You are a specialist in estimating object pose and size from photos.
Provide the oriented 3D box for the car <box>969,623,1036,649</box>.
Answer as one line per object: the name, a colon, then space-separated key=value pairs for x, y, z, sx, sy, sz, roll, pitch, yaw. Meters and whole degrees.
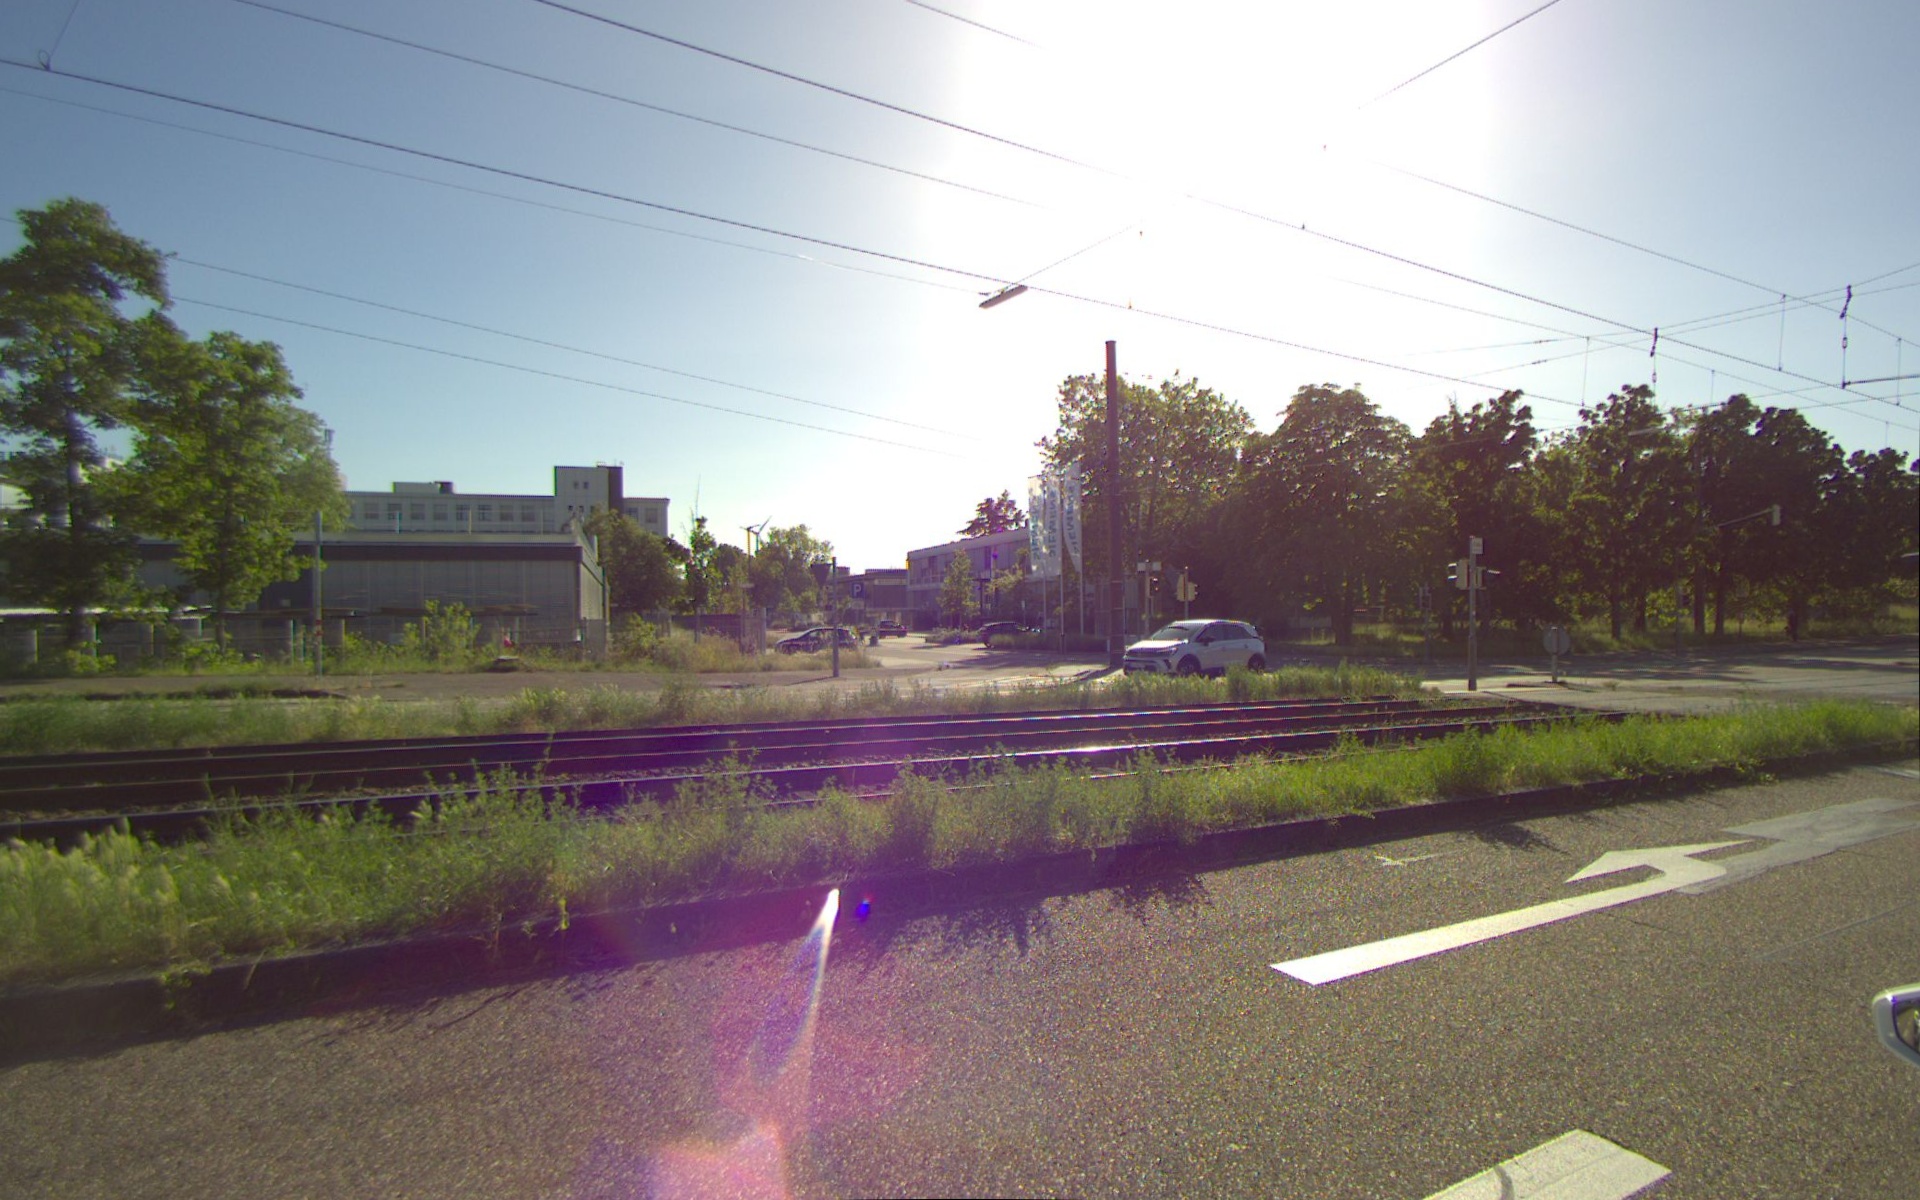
car: x=2.601 y=2.166 z=61.689 sx=3.818 sy=1.508 sz=1.682 roll=1 pitch=0 yaw=-32

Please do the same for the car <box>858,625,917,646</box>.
car: x=-5.155 y=2.538 z=71.766 sx=3.893 sy=1.471 sz=1.688 roll=1 pitch=0 yaw=-21

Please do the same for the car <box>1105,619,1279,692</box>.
car: x=5.772 y=1.307 z=24.819 sx=4.212 sy=1.628 sz=1.839 roll=1 pitch=0 yaw=-35

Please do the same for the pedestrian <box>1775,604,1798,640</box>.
pedestrian: x=48.486 y=1.284 z=58.926 sx=0.853 sy=2.040 sz=0.835 roll=1 pitch=0 yaw=-32

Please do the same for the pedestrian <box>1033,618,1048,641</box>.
pedestrian: x=5.482 y=1.995 z=68.631 sx=0.810 sy=1.549 sz=0.762 roll=1 pitch=0 yaw=-17

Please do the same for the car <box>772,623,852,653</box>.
car: x=-7.617 y=1.933 z=51.679 sx=3.806 sy=1.453 sz=1.687 roll=1 pitch=0 yaw=-23
